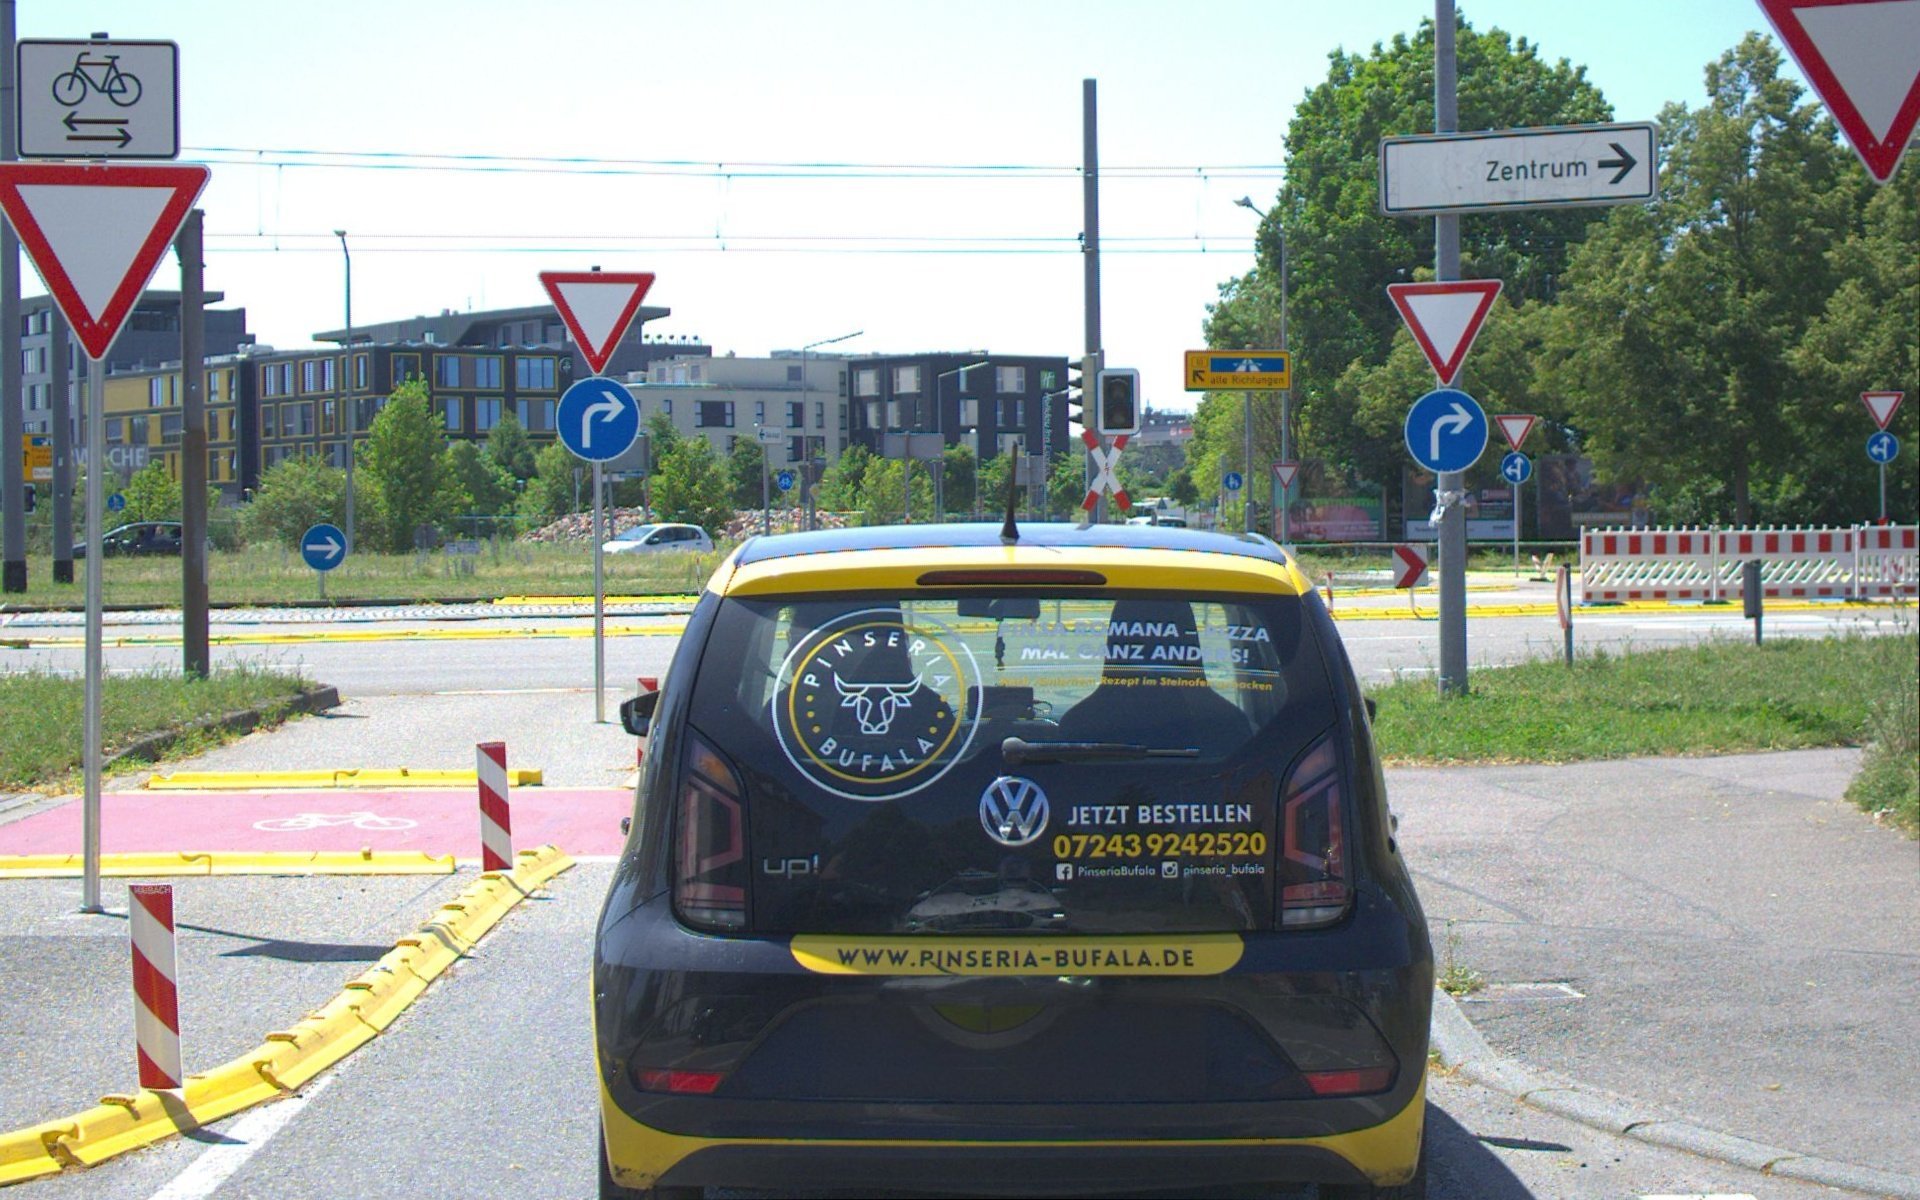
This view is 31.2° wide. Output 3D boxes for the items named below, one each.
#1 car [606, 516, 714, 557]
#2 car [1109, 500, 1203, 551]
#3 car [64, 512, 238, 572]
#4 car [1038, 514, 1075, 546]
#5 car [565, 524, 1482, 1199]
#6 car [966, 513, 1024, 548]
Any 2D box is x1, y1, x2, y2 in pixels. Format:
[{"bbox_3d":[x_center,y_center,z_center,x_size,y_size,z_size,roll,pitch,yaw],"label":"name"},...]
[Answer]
[{"bbox_3d":[-8.630,-1.828,99.092,2.887,1.151,1.204,-2,2,-37],"label":"car"},{"bbox_3d":[5.359,-2.043,94.266,1.658,1.367,3.033,-1,1,-16],"label":"car"},{"bbox_3d":[-20.279,-1.459,86.333,4.034,1.456,1.730,-1,1,-5],"label":"car"},{"bbox_3d":[4.309,-3.143,153.702,1.520,1.389,3.283,0,1,-1],"label":"car"},{"bbox_3d":[0.088,0.556,8.104,1.618,1.446,3.987,0,1,-1],"label":"car"},{"bbox_3d":[1.358,-2.700,133.518,1.769,1.340,3.321,0,1,9],"label":"car"}]
